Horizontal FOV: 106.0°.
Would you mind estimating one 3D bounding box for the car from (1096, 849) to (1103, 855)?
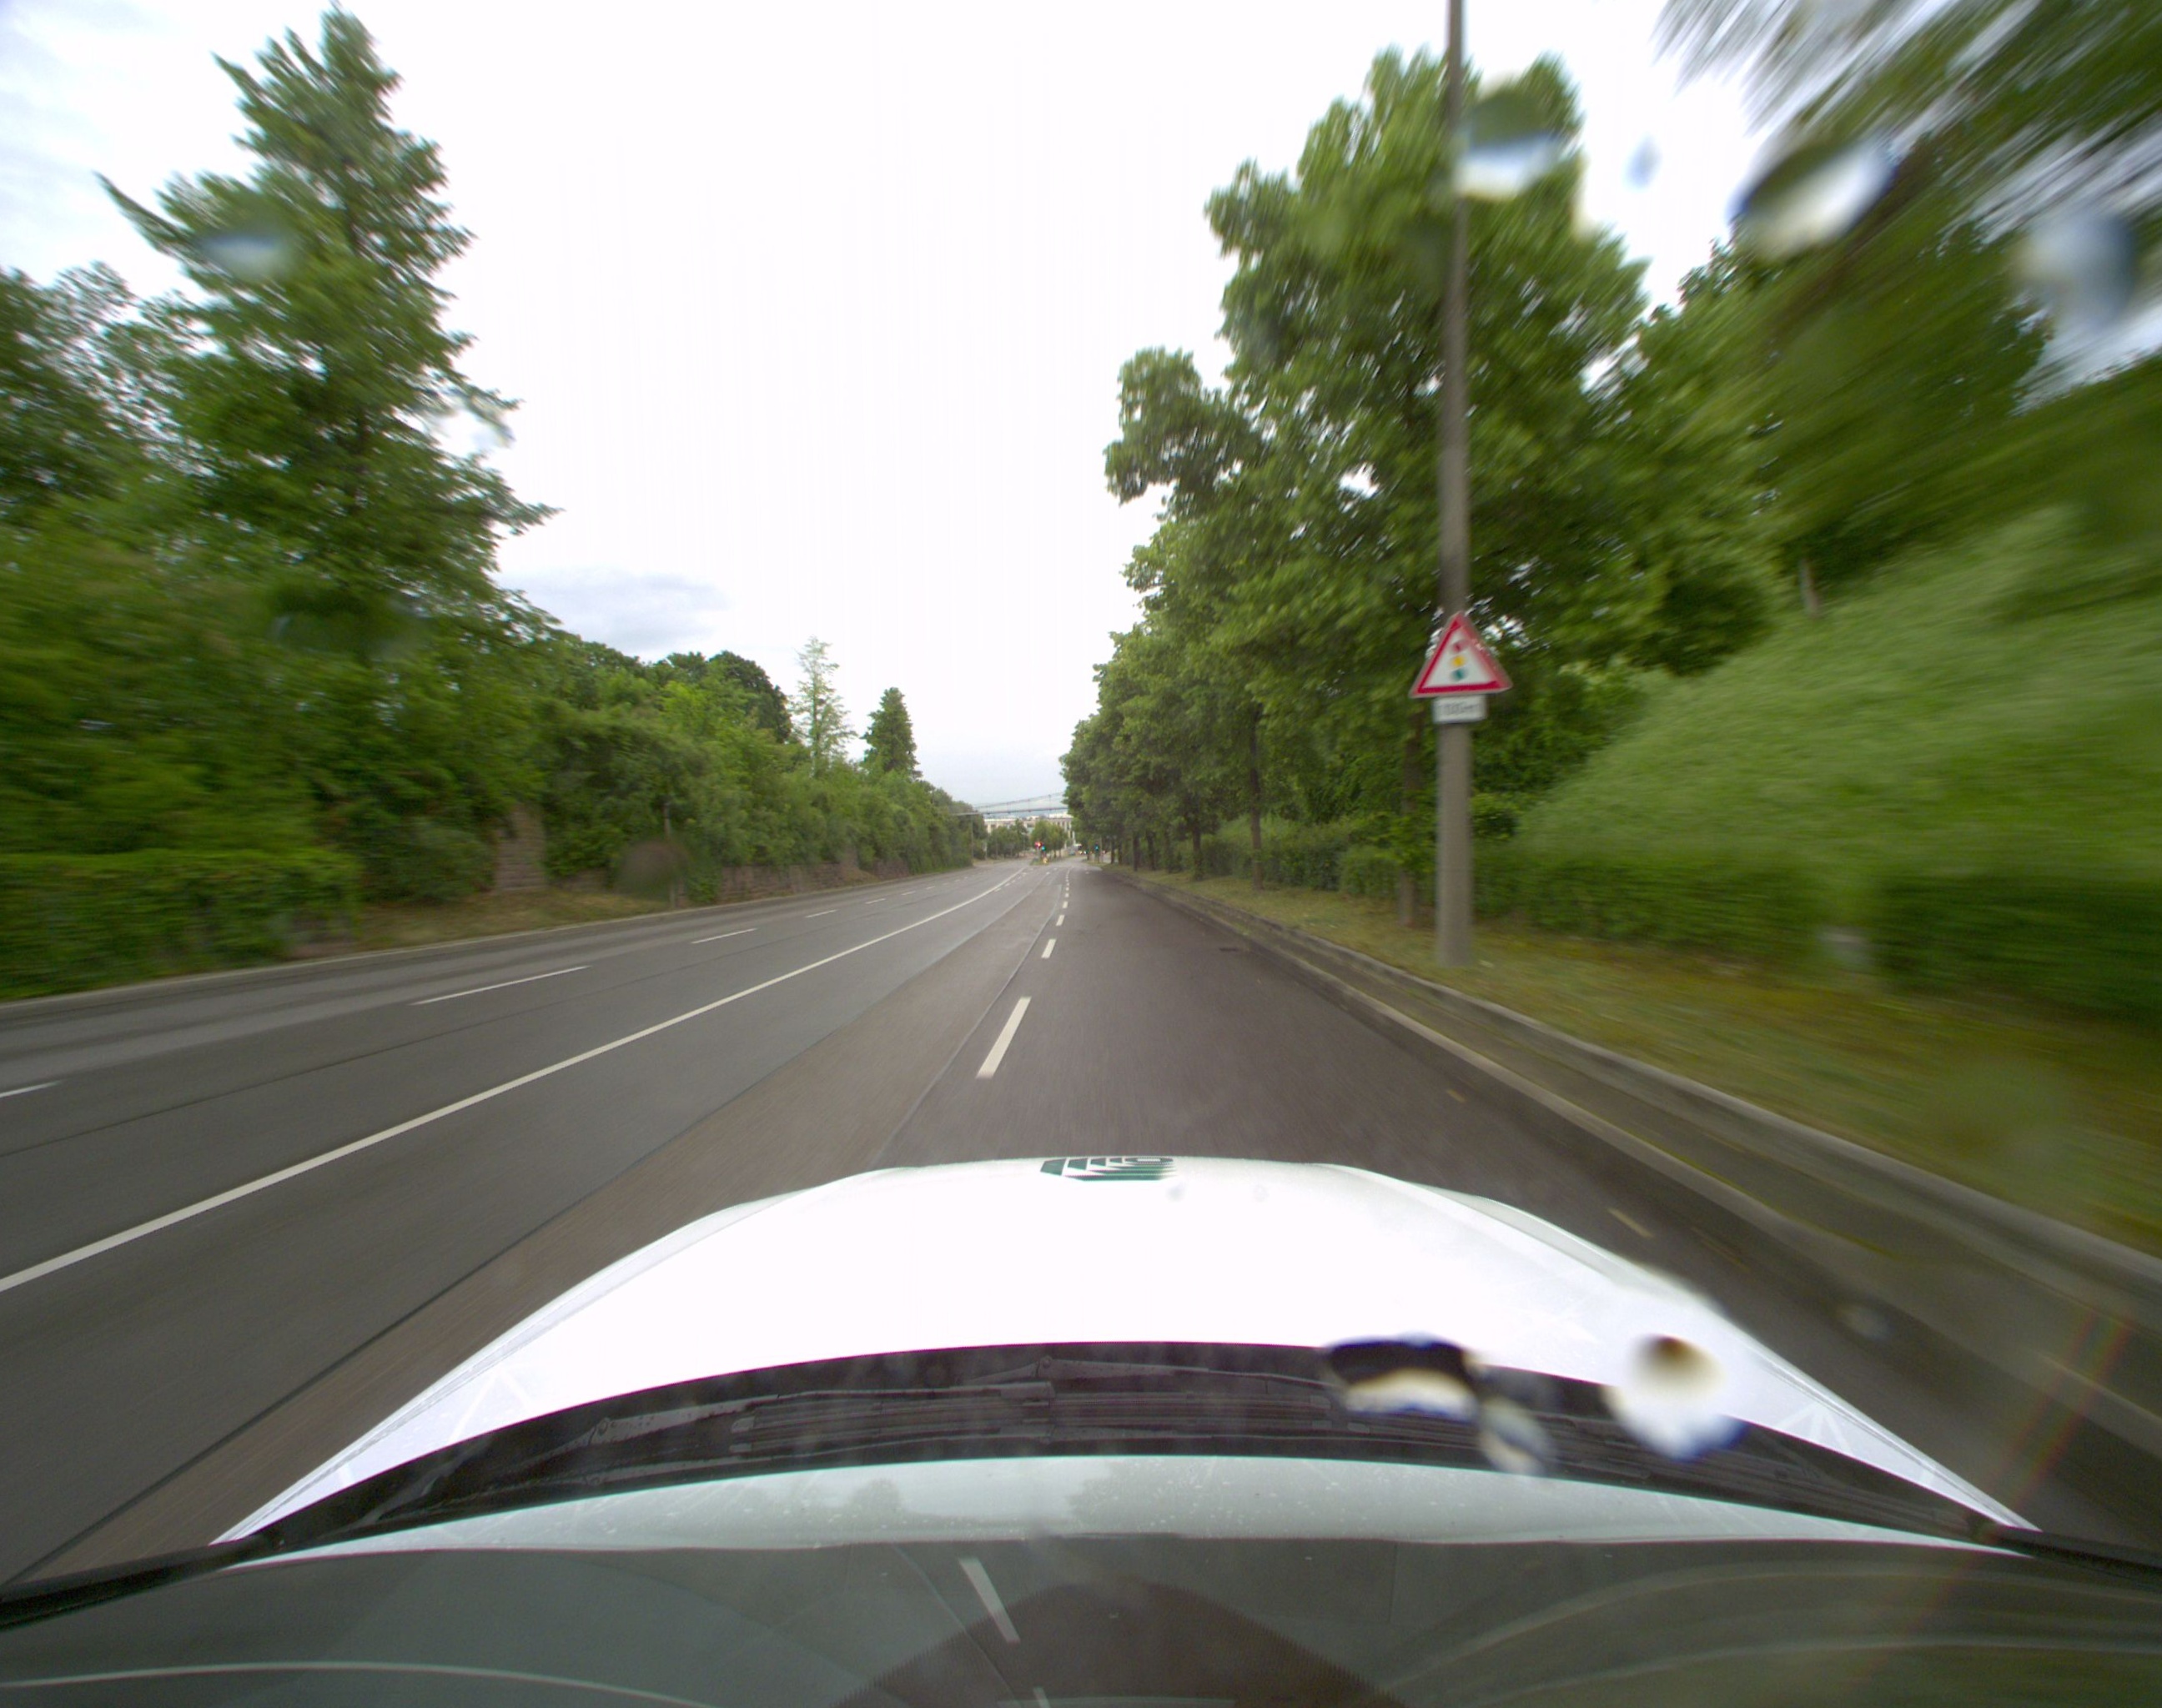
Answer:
[{"bbox_3d":[5.326,-0.629,233.391,1.839,1.702,3.800,0,-1,7],"label":"car"}]
